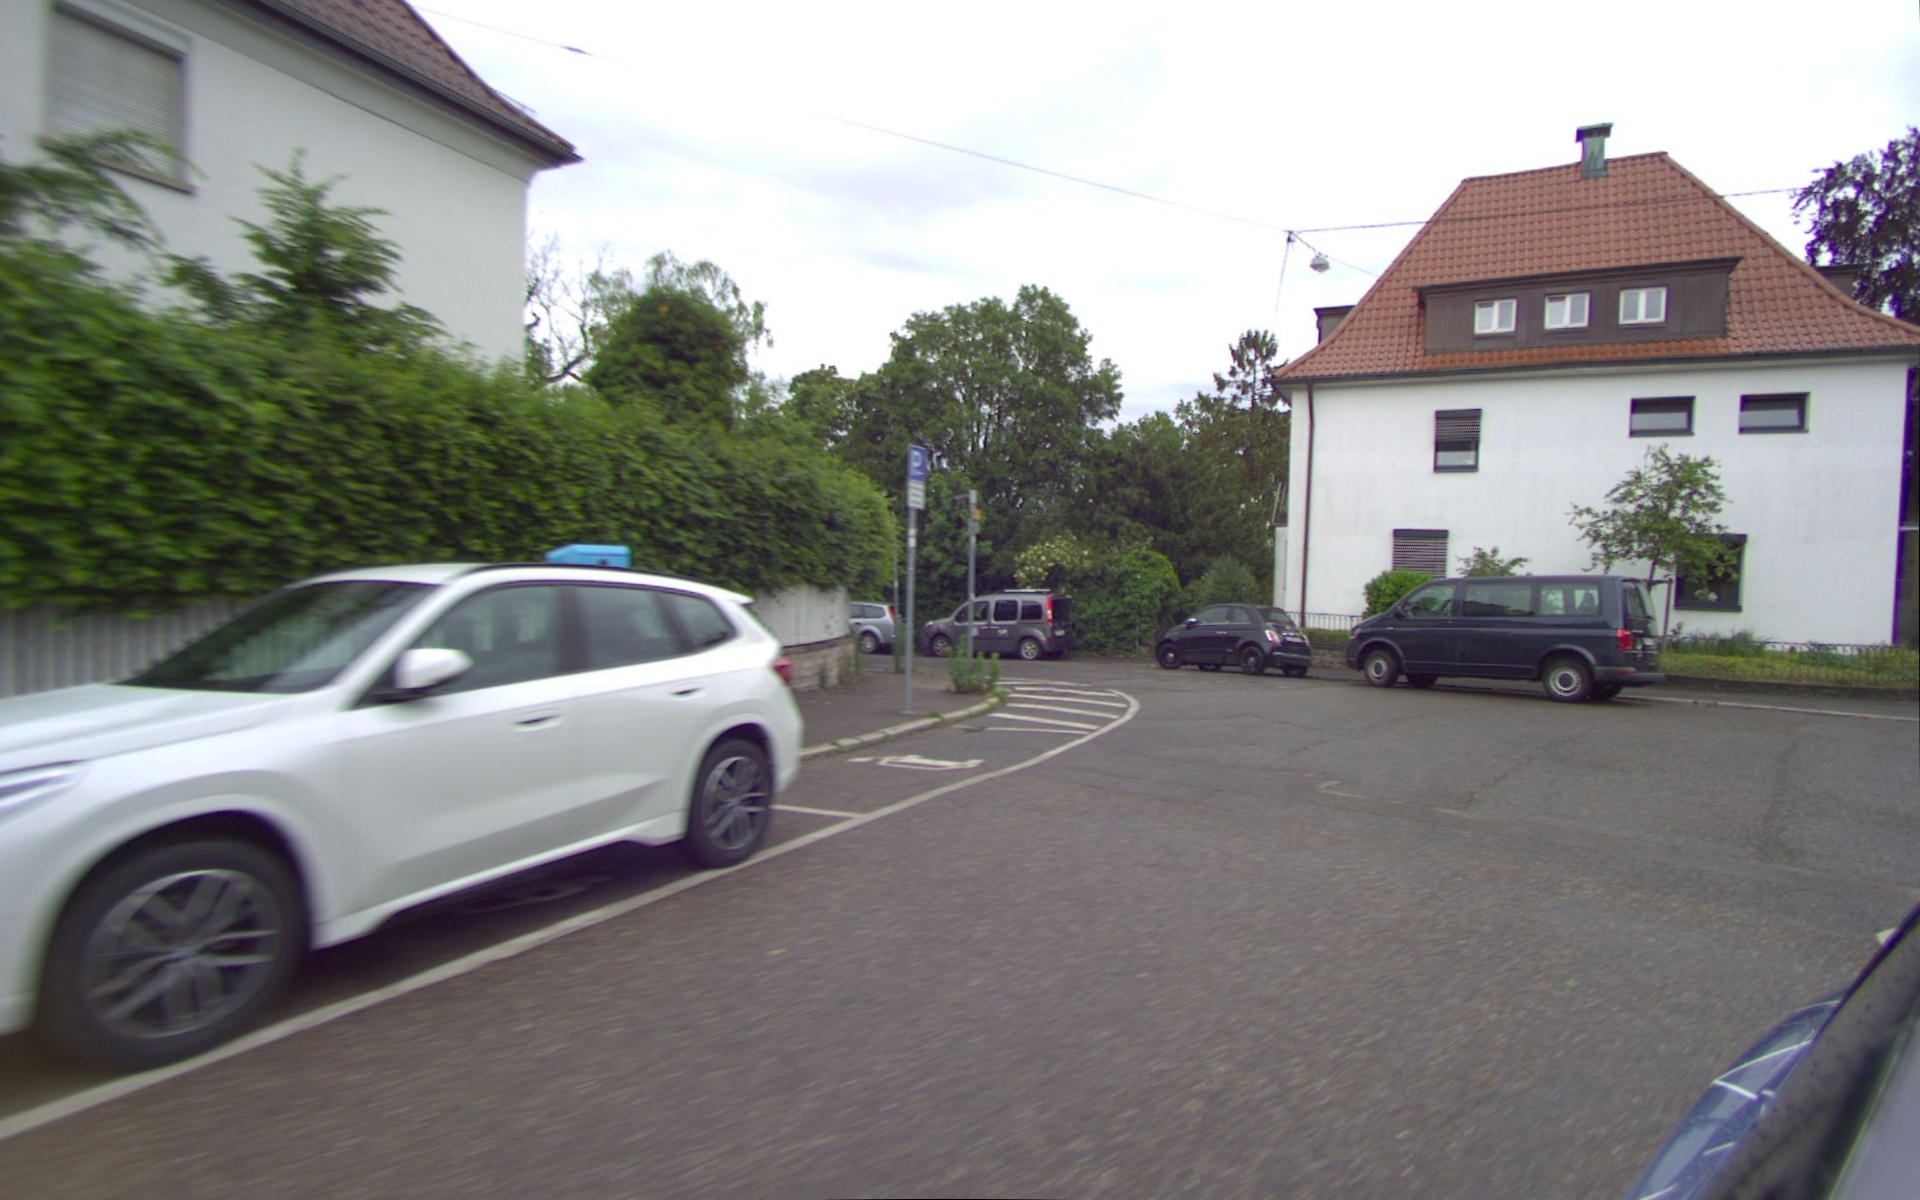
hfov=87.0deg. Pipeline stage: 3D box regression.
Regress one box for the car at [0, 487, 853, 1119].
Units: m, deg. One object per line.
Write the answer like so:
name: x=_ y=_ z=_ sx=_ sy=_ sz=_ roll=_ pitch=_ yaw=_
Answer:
car: x=-2.484 y=0.522 z=4.839 sx=1.732 sy=1.693 sz=4.605 roll=1 pitch=1 yaw=26

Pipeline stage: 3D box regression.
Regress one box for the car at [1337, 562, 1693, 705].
car: x=9.203 y=0.410 z=17.181 sx=1.907 sy=1.971 sz=4.916 roll=0 pitch=3 yaw=-42

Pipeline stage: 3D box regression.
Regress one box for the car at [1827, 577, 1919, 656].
car: x=25.269 y=0.545 z=25.617 sx=1.909 sy=1.830 sz=4.740 roll=0 pitch=6 yaw=-43

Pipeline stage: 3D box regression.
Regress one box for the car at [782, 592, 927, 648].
car: x=-3.113 y=0.548 z=29.906 sx=3.958 sy=1.481 sz=1.757 roll=1 pitch=1 yaw=25

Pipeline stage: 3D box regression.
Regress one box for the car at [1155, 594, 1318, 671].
car: x=5.786 y=0.687 z=21.482 sx=1.297 sy=1.460 sz=3.268 roll=5 pitch=-4 yaw=-33

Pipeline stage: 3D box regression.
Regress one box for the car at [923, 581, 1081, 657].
car: x=1.131 y=0.458 z=27.548 sx=3.961 sy=1.883 sz=1.755 roll=1 pitch=1 yaw=27
